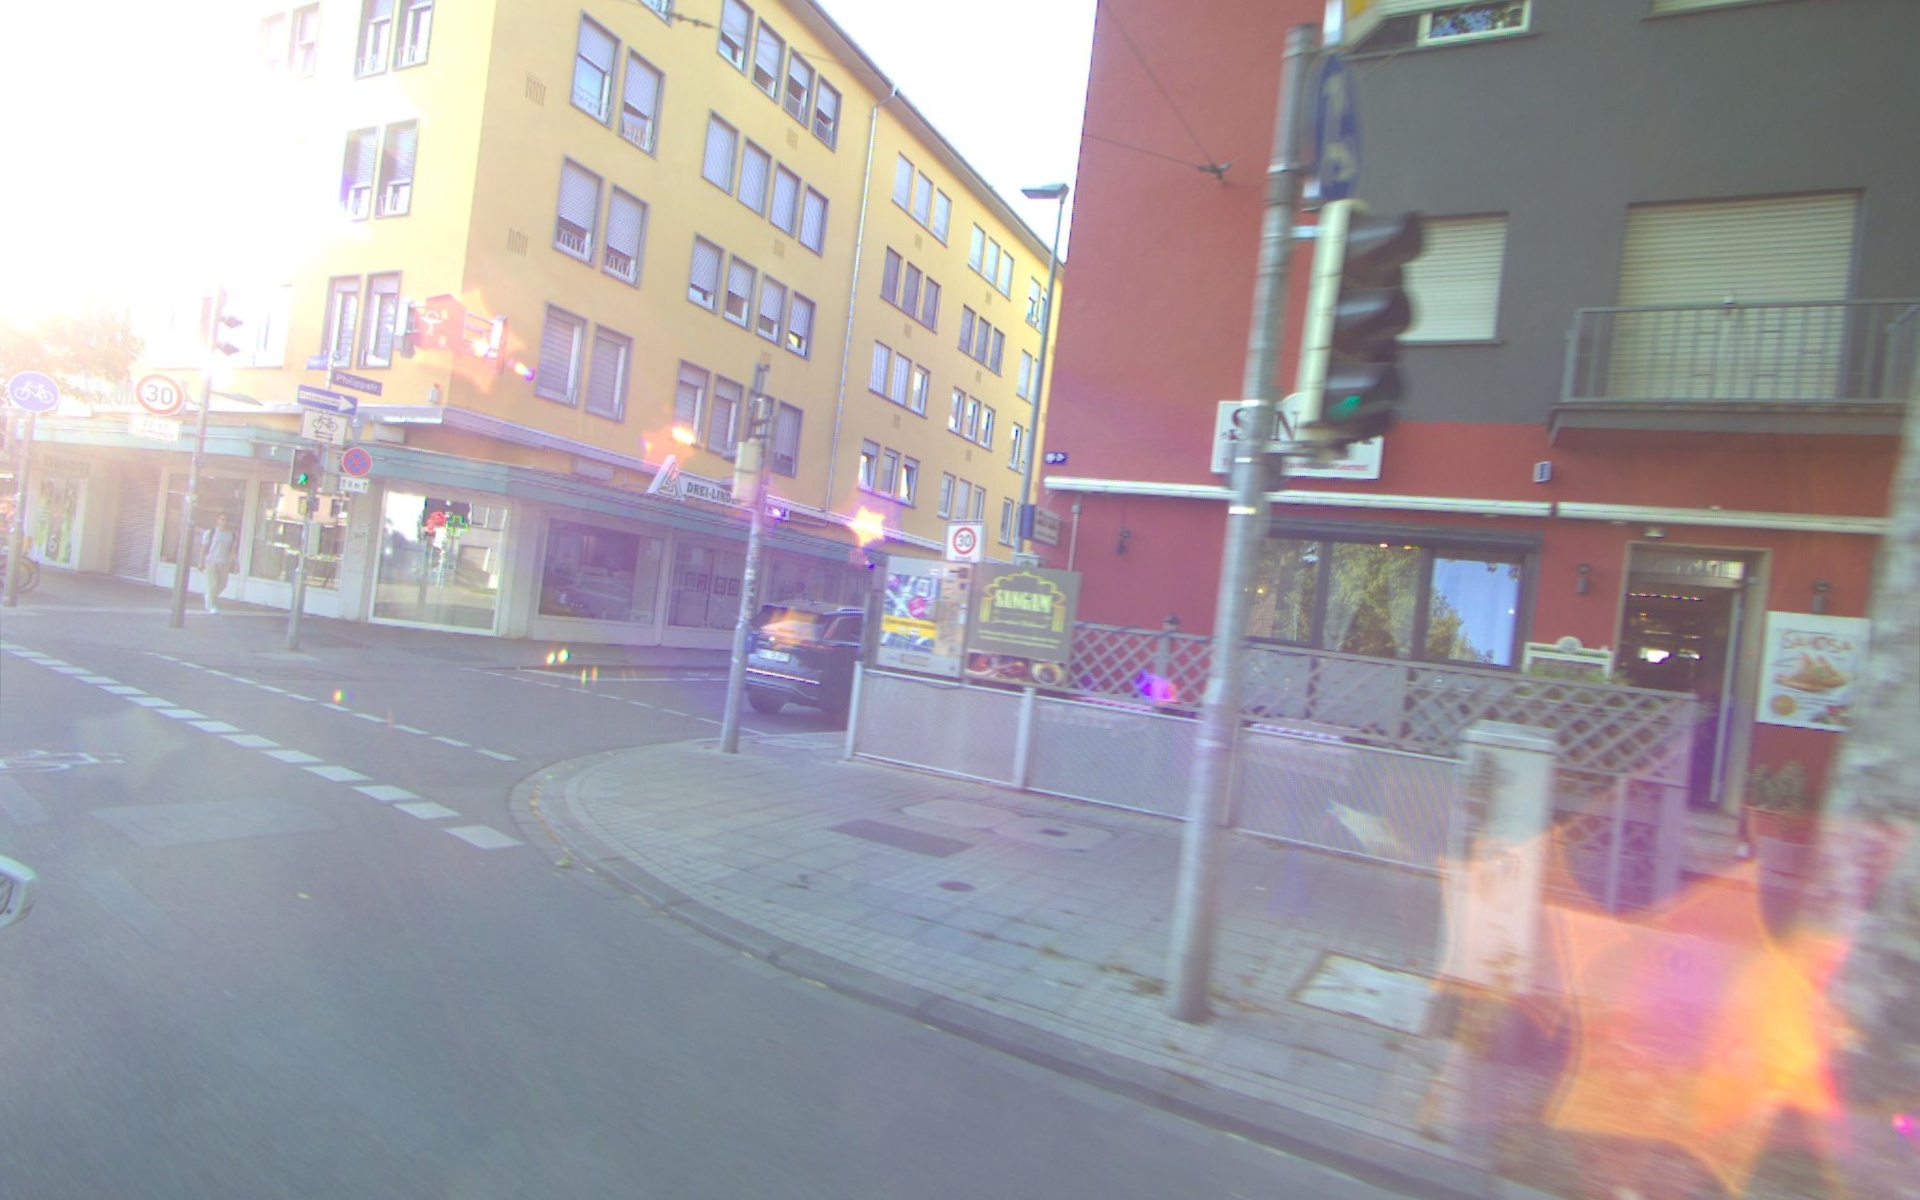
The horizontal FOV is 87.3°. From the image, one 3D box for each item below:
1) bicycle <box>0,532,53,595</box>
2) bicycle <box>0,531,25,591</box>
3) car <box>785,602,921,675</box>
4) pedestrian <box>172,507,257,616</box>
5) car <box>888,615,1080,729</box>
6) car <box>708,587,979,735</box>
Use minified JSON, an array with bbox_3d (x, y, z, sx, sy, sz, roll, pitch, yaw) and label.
[{"bbox_3d":[-16.793,-0.666,17.206,0.531,1.021,1.802,6,1,24],"label":"bicycle"},{"bbox_3d":[-17.351,-0.746,17.475,0.446,1.020,1.487,7,-1,24],"label":"bicycle"},{"bbox_3d":[-2.621,1.009,25.275,1.742,1.501,3.318,6,-1,27],"label":"car"},{"bbox_3d":[-13.202,-0.676,17.821,0.879,1.801,0.745,6,-1,27],"label":"pedestrian"},{"bbox_3d":[0.628,1.411,19.496,1.741,1.761,4.614,7,-1,27],"label":"car"},{"bbox_3d":[-1.535,0.937,14.987,1.741,1.706,4.352,6,-1,27],"label":"car"}]
